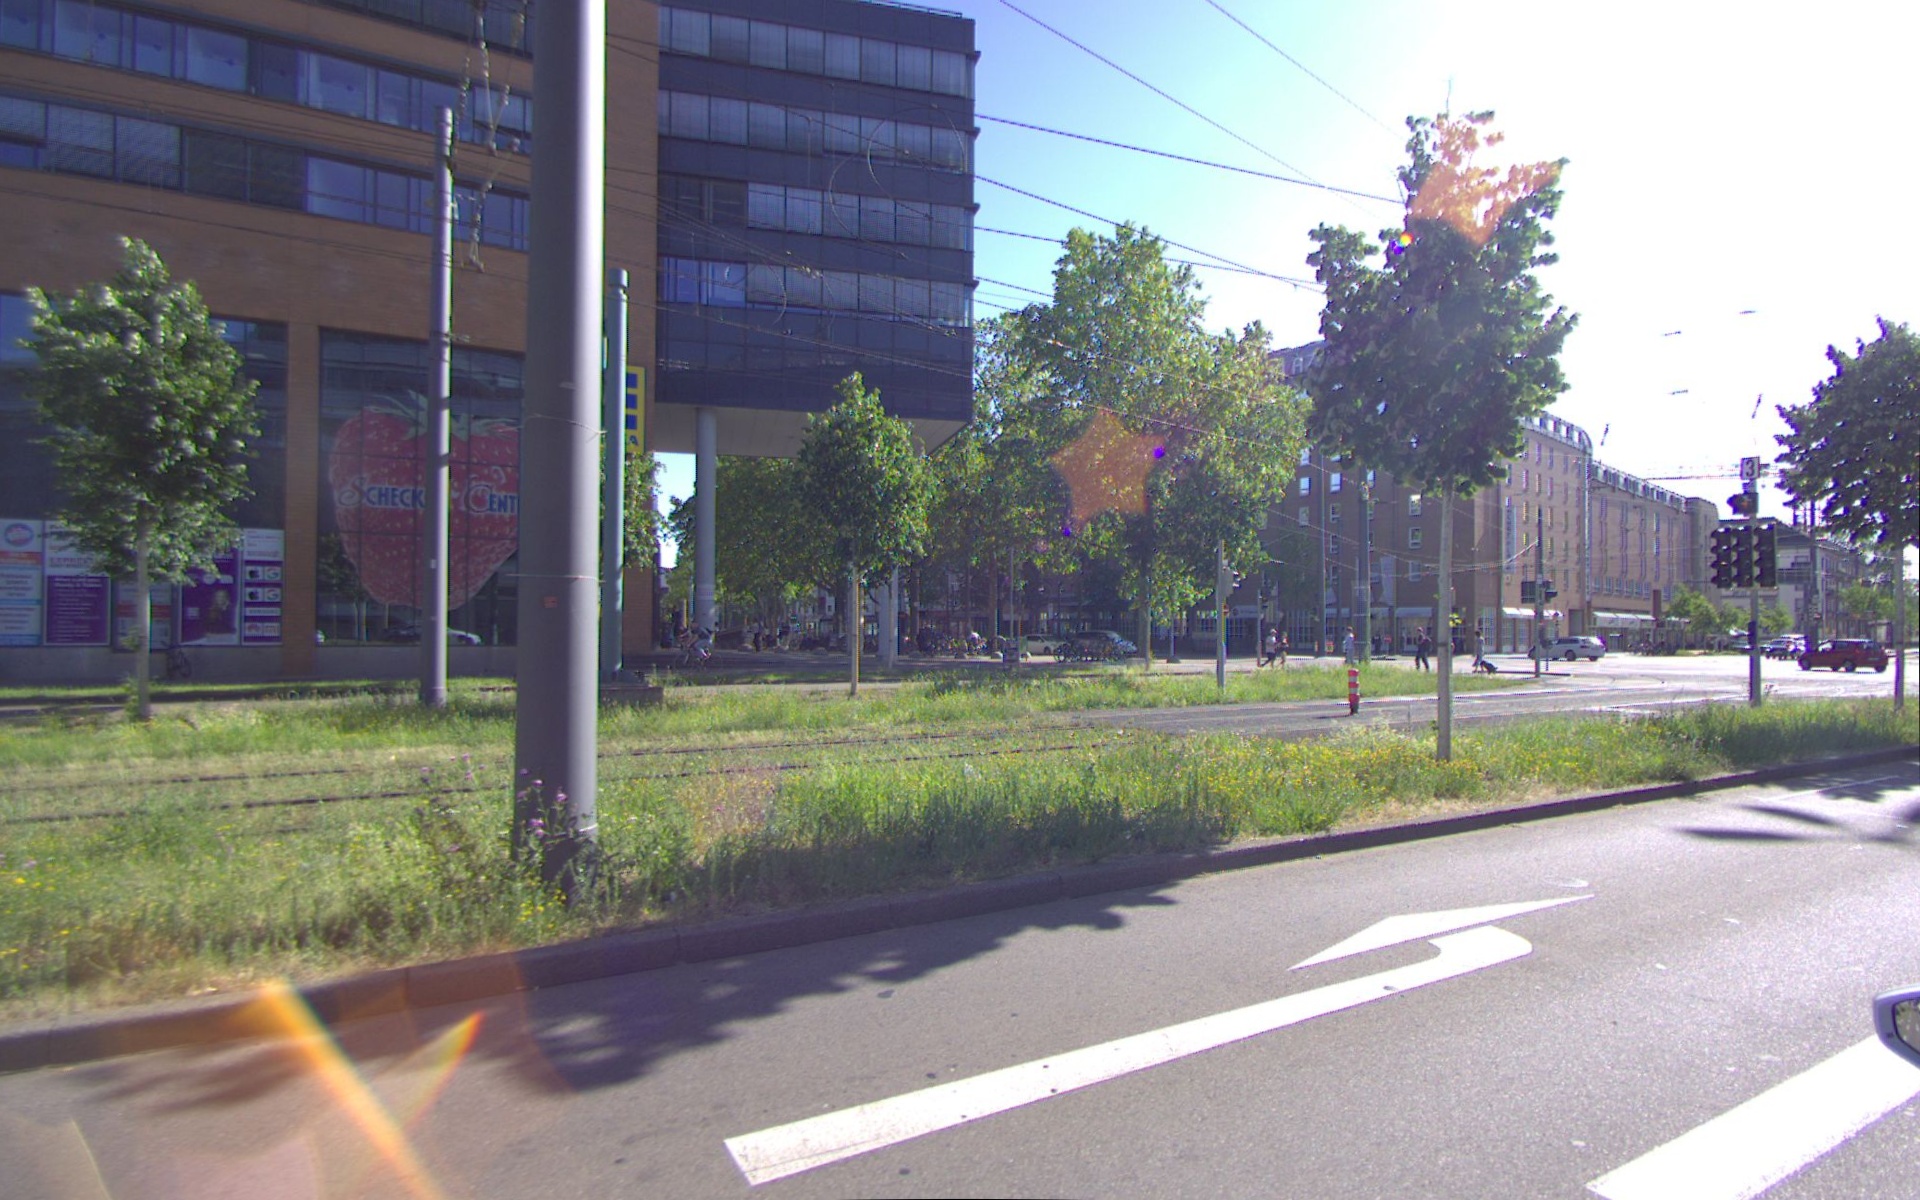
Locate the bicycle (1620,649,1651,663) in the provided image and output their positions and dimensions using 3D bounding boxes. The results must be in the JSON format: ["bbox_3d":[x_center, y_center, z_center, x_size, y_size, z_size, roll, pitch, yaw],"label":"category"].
[{"bbox_3d":[66.990,5.586,99.674,0.726,1.327,2.470,1,-2,-33],"label":"bicycle"}]

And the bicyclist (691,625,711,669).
[{"bbox_3d":[-8.365,1.521,32.431,0.476,1.395,0.338,3,-2,-32],"label":"bicyclist"}]

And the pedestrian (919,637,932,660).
[{"bbox_3d":[-1.958,2.730,57.022,0.543,1.310,0.425,2,-2,-40],"label":"pedestrian"}]

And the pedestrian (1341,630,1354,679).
[{"bbox_3d":[14.709,2.058,38.153,0.452,1.855,0.459,0,-1,21],"label":"pedestrian"}]

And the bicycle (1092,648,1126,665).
[{"bbox_3d":[7.633,2.880,51.421,0.373,0.809,2.007,2,-2,-39],"label":"bicycle"}]

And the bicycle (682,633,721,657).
[{"bbox_3d":[-12.763,2.213,49.622,1.783,1.149,0.490,1,-2,-32],"label":"bicycle"}]

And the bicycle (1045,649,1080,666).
[{"bbox_3d":[4.982,2.788,48.916,0.373,0.809,2.007,2,-2,-39],"label":"bicycle"}]

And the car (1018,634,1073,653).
[{"bbox_3d":[5.739,2.929,67.902,1.762,1.158,3.966,1,-2,-32],"label":"car"}]

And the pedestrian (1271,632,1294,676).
[{"bbox_3d":[13.681,2.286,42.620,0.615,1.855,0.759,1,-1,-22],"label":"pedestrian"}]

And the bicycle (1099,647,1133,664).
[{"bbox_3d":[8.165,2.917,52.720,0.373,0.809,2.007,2,-2,-39],"label":"bicycle"}]

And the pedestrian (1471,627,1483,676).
[{"bbox_3d":[19.636,1.959,38.167,0.379,1.855,0.463,0,-1,27],"label":"pedestrian"}]

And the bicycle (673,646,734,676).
[{"bbox_3d":[-8.273,1.968,32.485,1.875,0.938,0.351,3,-3,-33],"label":"bicycle"}]

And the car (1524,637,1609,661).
[{"bbox_3d":[37.886,3.060,62.858,2.033,1.399,4.398,1,-2,-16],"label":"car"}]

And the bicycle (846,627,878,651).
[{"bbox_3d":[-5.532,2.182,56.511,0.463,1.370,2.341,2,-2,-44],"label":"bicycle"}]

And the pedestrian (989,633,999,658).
[{"bbox_3d":[2.034,2.719,59.764,0.491,1.471,0.648,0,-1,-5],"label":"pedestrian"}]

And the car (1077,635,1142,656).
[{"bbox_3d":[9.368,2.851,63.199,1.978,1.247,3.966,1,-2,-32],"label":"car"}]

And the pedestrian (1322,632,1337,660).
[{"bbox_3d":[26.622,3.301,72.282,0.899,1.957,0.694,2,-2,-44],"label":"pedestrian"}]

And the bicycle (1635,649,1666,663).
[{"bbox_3d":[69.387,5.646,100.987,0.726,1.327,2.470,1,-2,-33],"label":"bicycle"}]

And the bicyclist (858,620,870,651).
[{"bbox_3d":[-5.363,1.981,56.364,0.463,1.744,0.479,2,-2,-45],"label":"bicyclist"}]

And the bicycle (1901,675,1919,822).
[{"bbox_3d":[8.449,1.144,8.001,2.666,1.084,0.683,1,0,-31],"label":"bicycle"}]

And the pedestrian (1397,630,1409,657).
[{"bbox_3d":[31.918,3.120,72.366,0.746,1.957,0.517,2,-2,-44],"label":"pedestrian"}]

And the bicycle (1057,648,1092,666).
[{"bbox_3d":[5.694,2.828,50.029,0.373,0.809,2.007,2,-2,-39],"label":"bicycle"}]

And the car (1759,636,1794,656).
[{"bbox_3d":[64.179,3.602,78.910,3.892,1.416,1.595,1,-5,-44],"label":"car"}]

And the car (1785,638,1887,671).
[{"bbox_3d":[41.033,2.517,47.148,1.626,1.468,3.586,0,-2,0],"label":"car"}]

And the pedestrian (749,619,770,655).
[{"bbox_3d":[-9.242,1.705,46.272,0.779,1.645,0.503,3,-2,-31],"label":"pedestrian"}]

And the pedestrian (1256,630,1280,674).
[{"bbox_3d":[13.005,2.189,42.452,0.616,1.855,0.759,1,-1,-26],"label":"pedestrian"}]

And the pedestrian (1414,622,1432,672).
[{"bbox_3d":[17.283,1.760,37.476,0.571,1.855,0.498,0,-1,21],"label":"pedestrian"}]

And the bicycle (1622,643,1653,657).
[{"bbox_3d":[67.882,5.007,100.675,0.726,1.327,2.470,1,-2,-33],"label":"bicycle"}]
